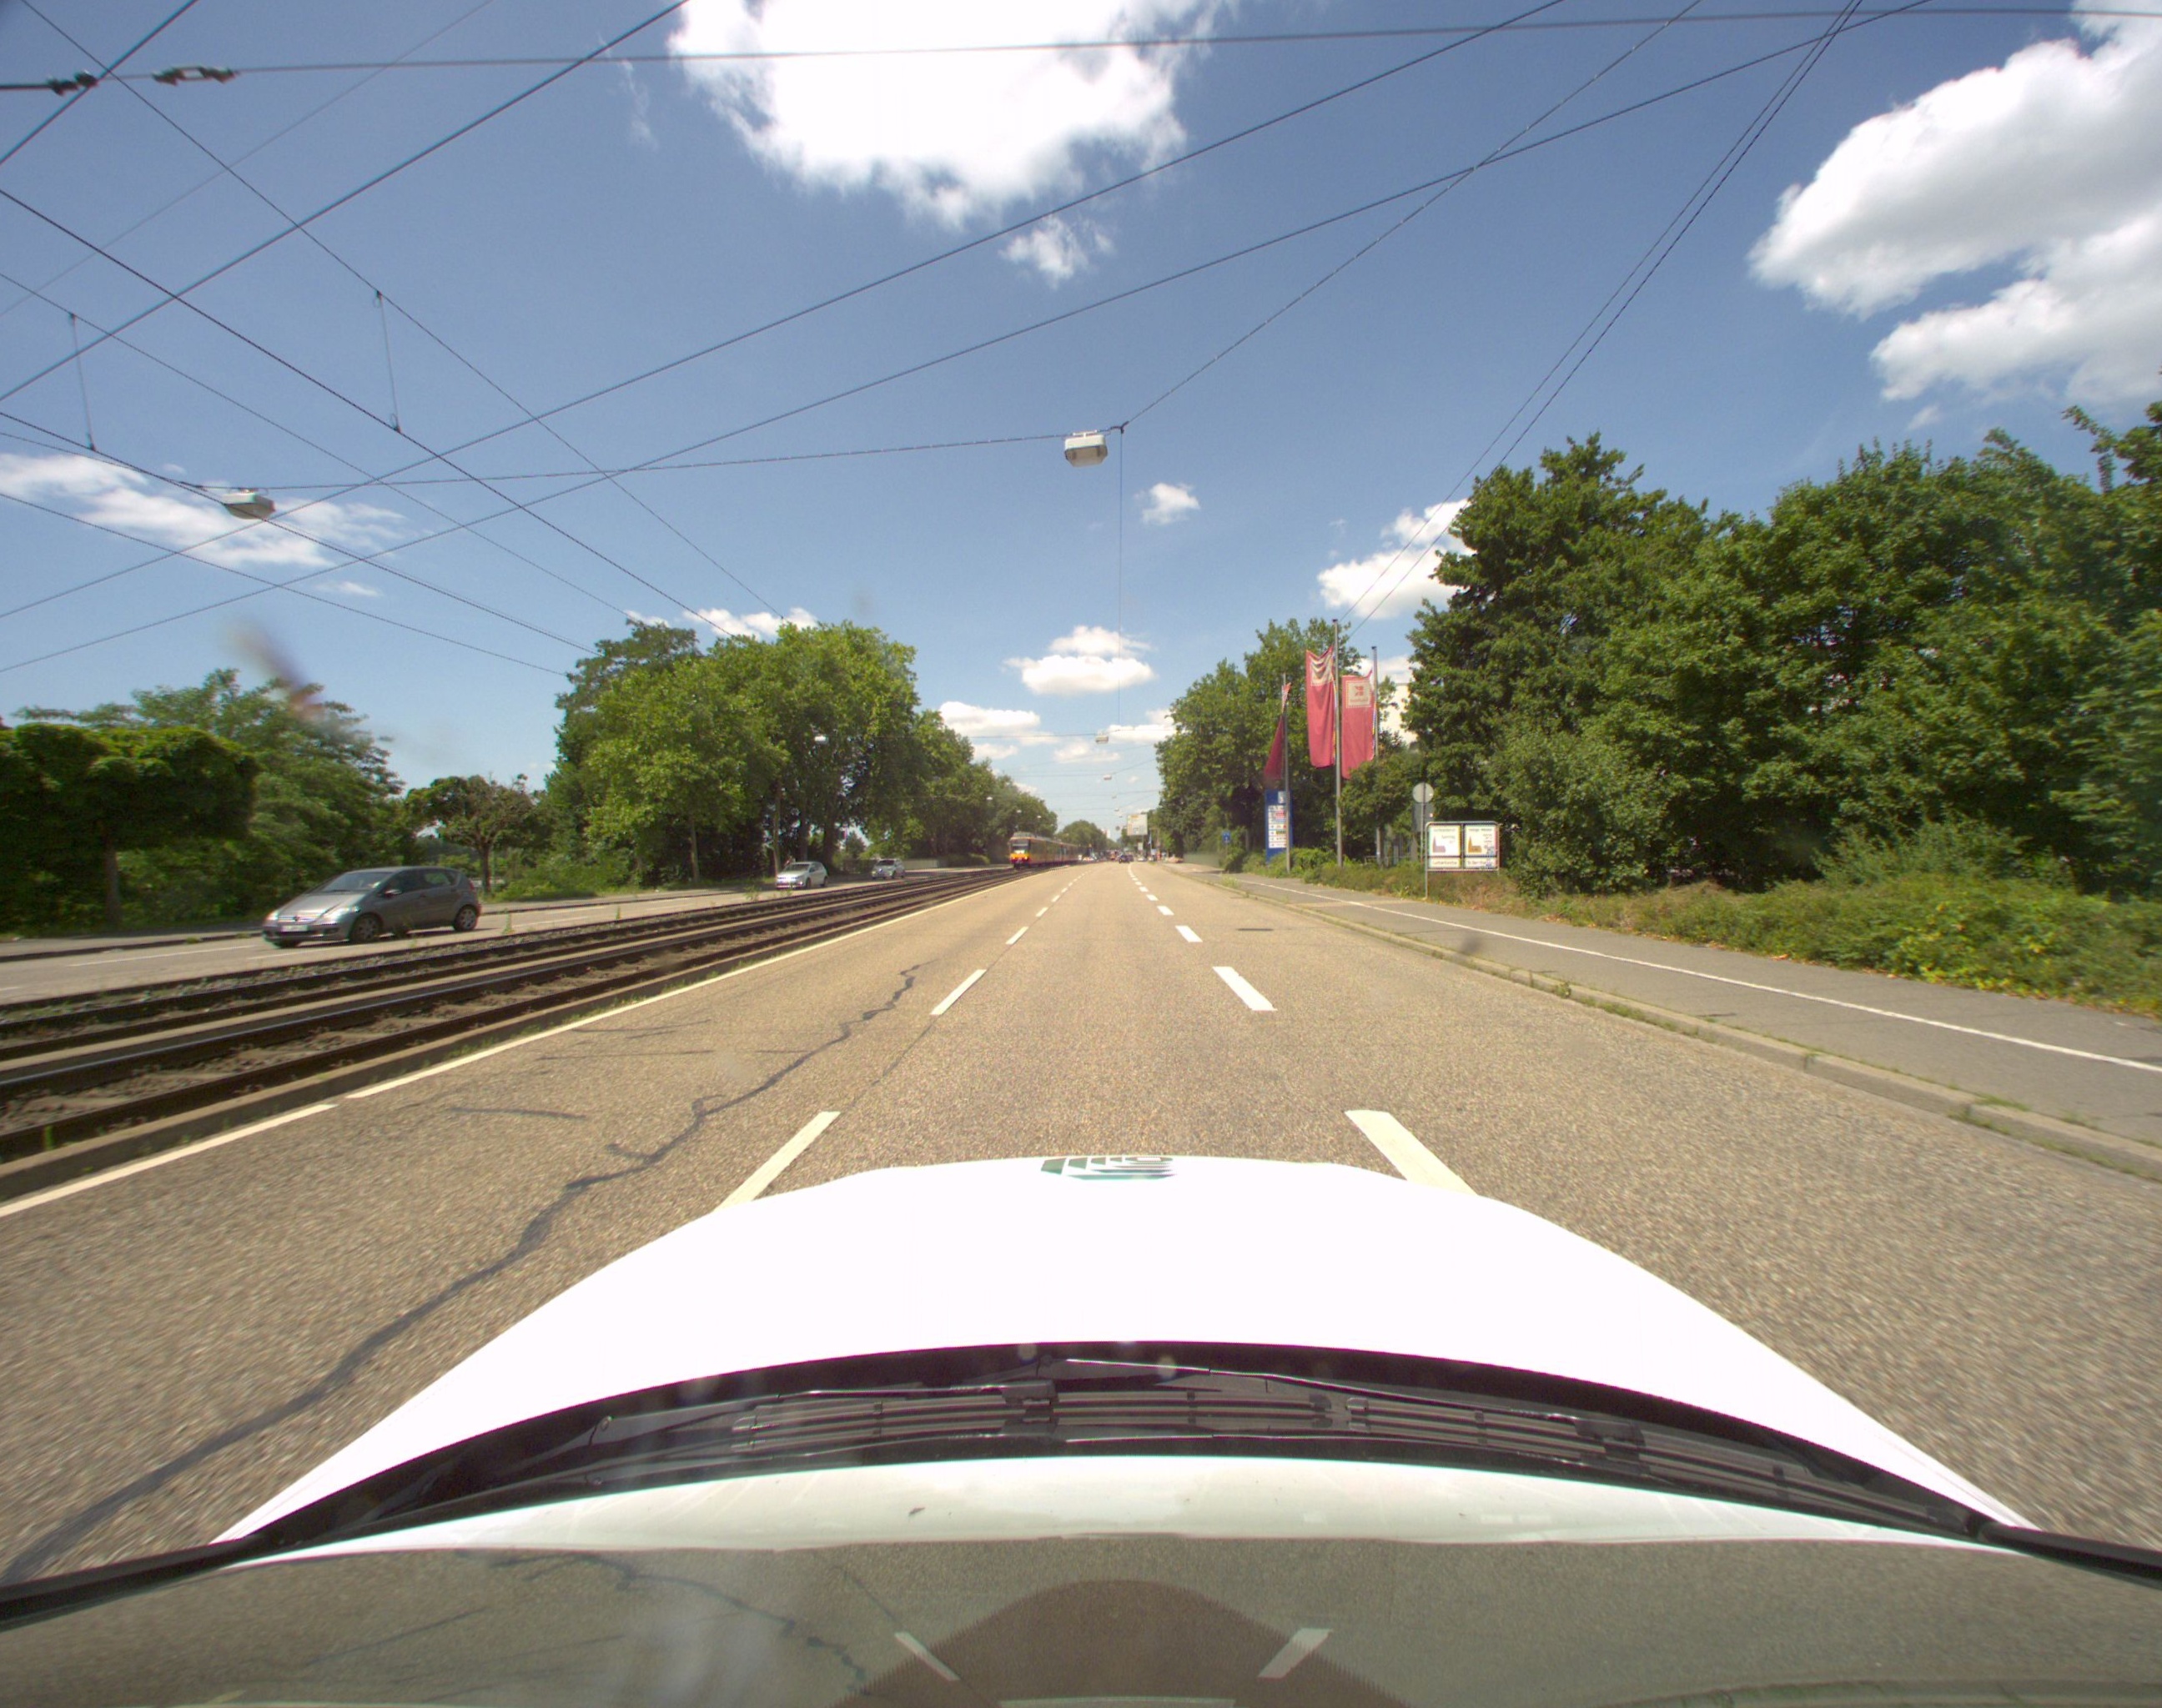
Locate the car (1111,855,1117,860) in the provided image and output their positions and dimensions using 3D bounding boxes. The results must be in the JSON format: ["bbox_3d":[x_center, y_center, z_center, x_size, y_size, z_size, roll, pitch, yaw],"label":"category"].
[{"bbox_3d":[9.897,1.051,243.679,1.835,1.550,3.778,1,0,1],"label":"car"}]

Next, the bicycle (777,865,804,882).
[{"bbox_3d":[-17.637,1.171,49.456,0.619,0.979,2.059,1,0,8],"label":"bicycle"}]

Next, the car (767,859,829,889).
[{"bbox_3d":[-14.720,0.996,42.591,1.630,1.421,4.130,-2,0,2],"label":"car"}]

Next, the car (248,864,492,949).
[{"bbox_3d":[-15.219,1.041,17.773,1.746,1.535,3.957,-2,0,1],"label":"car"}]

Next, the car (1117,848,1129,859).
[{"bbox_3d":[7.437,-0.105,143.893,1.892,1.805,3.977,1,0,1],"label":"car"}]

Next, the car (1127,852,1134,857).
[{"bbox_3d":[14.124,0.180,234.435,1.869,1.539,3.778,1,0,1],"label":"car"}]

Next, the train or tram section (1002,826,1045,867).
[{"bbox_3d":[-6.407,-0.837,93.936,3.036,4.267,15.434,-1,0,3],"label":"train or tram section"}]

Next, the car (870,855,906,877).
[{"bbox_3d":[-14.036,0.862,59.380,1.631,1.436,3.722,-2,0,1],"label":"car"}]

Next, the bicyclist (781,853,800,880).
[{"bbox_3d":[-17.637,0.744,49.415,0.619,1.617,1.064,1,0,8],"label":"bicyclist"}]
